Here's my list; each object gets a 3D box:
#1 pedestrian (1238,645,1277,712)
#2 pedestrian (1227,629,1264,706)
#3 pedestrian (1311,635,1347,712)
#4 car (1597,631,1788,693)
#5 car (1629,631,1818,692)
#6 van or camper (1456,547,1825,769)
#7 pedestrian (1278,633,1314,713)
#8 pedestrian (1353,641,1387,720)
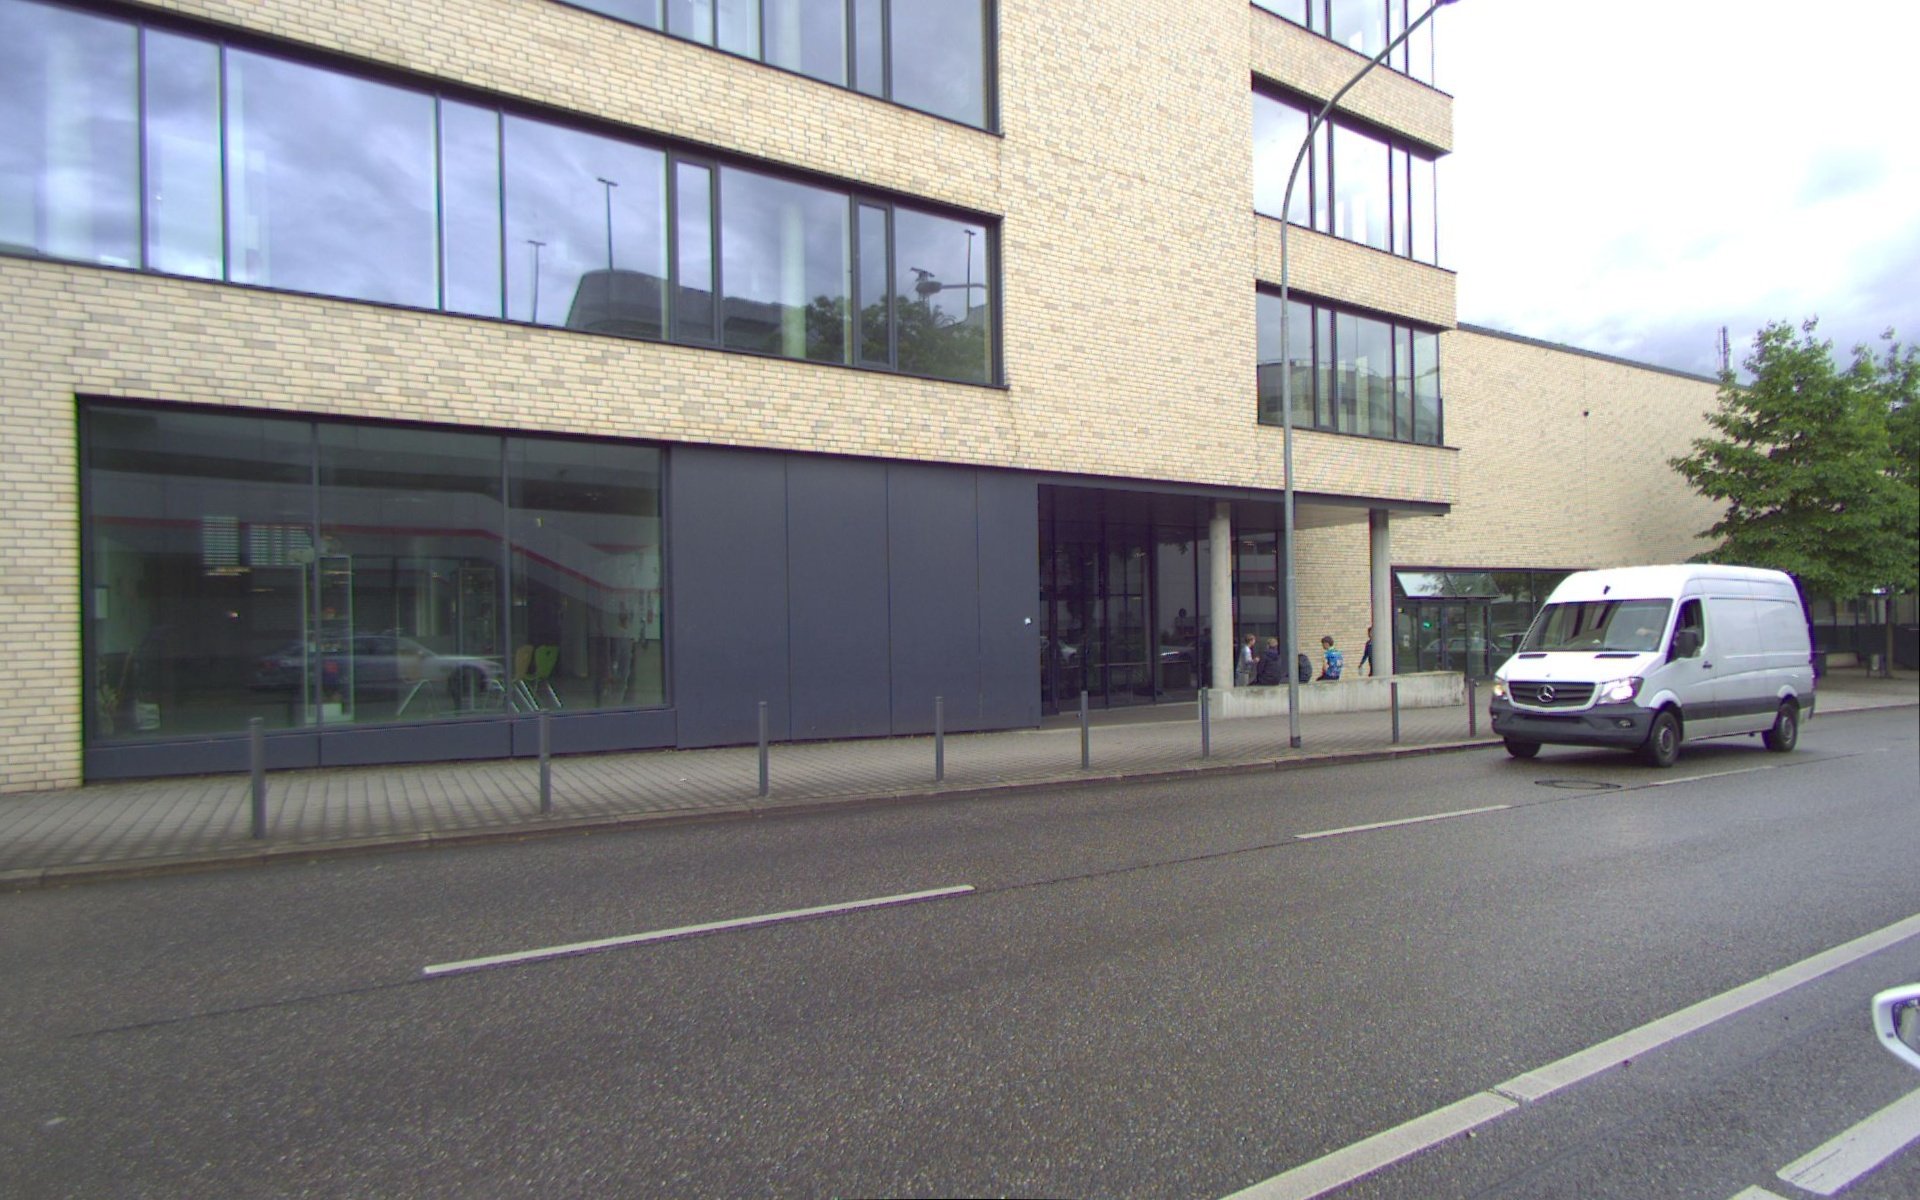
[{"bbox_3d":[5.620,1.480,19.012,0.416,1.231,0.546,2,0,-27],"label":"pedestrian"},{"bbox_3d":[5.678,1.331,20.007,0.523,1.495,0.438,2,0,-35],"label":"pedestrian"},{"bbox_3d":[7.409,1.462,20.175,0.459,1.495,0.446,2,0,-35],"label":"pedestrian"},{"bbox_3d":[21.446,1.768,29.546,1.981,1.514,4.147,2,0,-36],"label":"car"},{"bbox_3d":[23.322,1.840,30.854,1.975,1.568,4.159,2,0,-28],"label":"car"},{"bbox_3d":[9.794,0.799,14.301,5.842,2.616,2.091,2,-3,-32],"label":"van or camper"},{"bbox_3d":[6.498,1.401,19.445,0.459,1.495,0.446,2,0,-35],"label":"pedestrian"},{"bbox_3d":[9.465,1.841,23.171,0.625,1.737,0.704,2,0,26],"label":"pedestrian"}]
